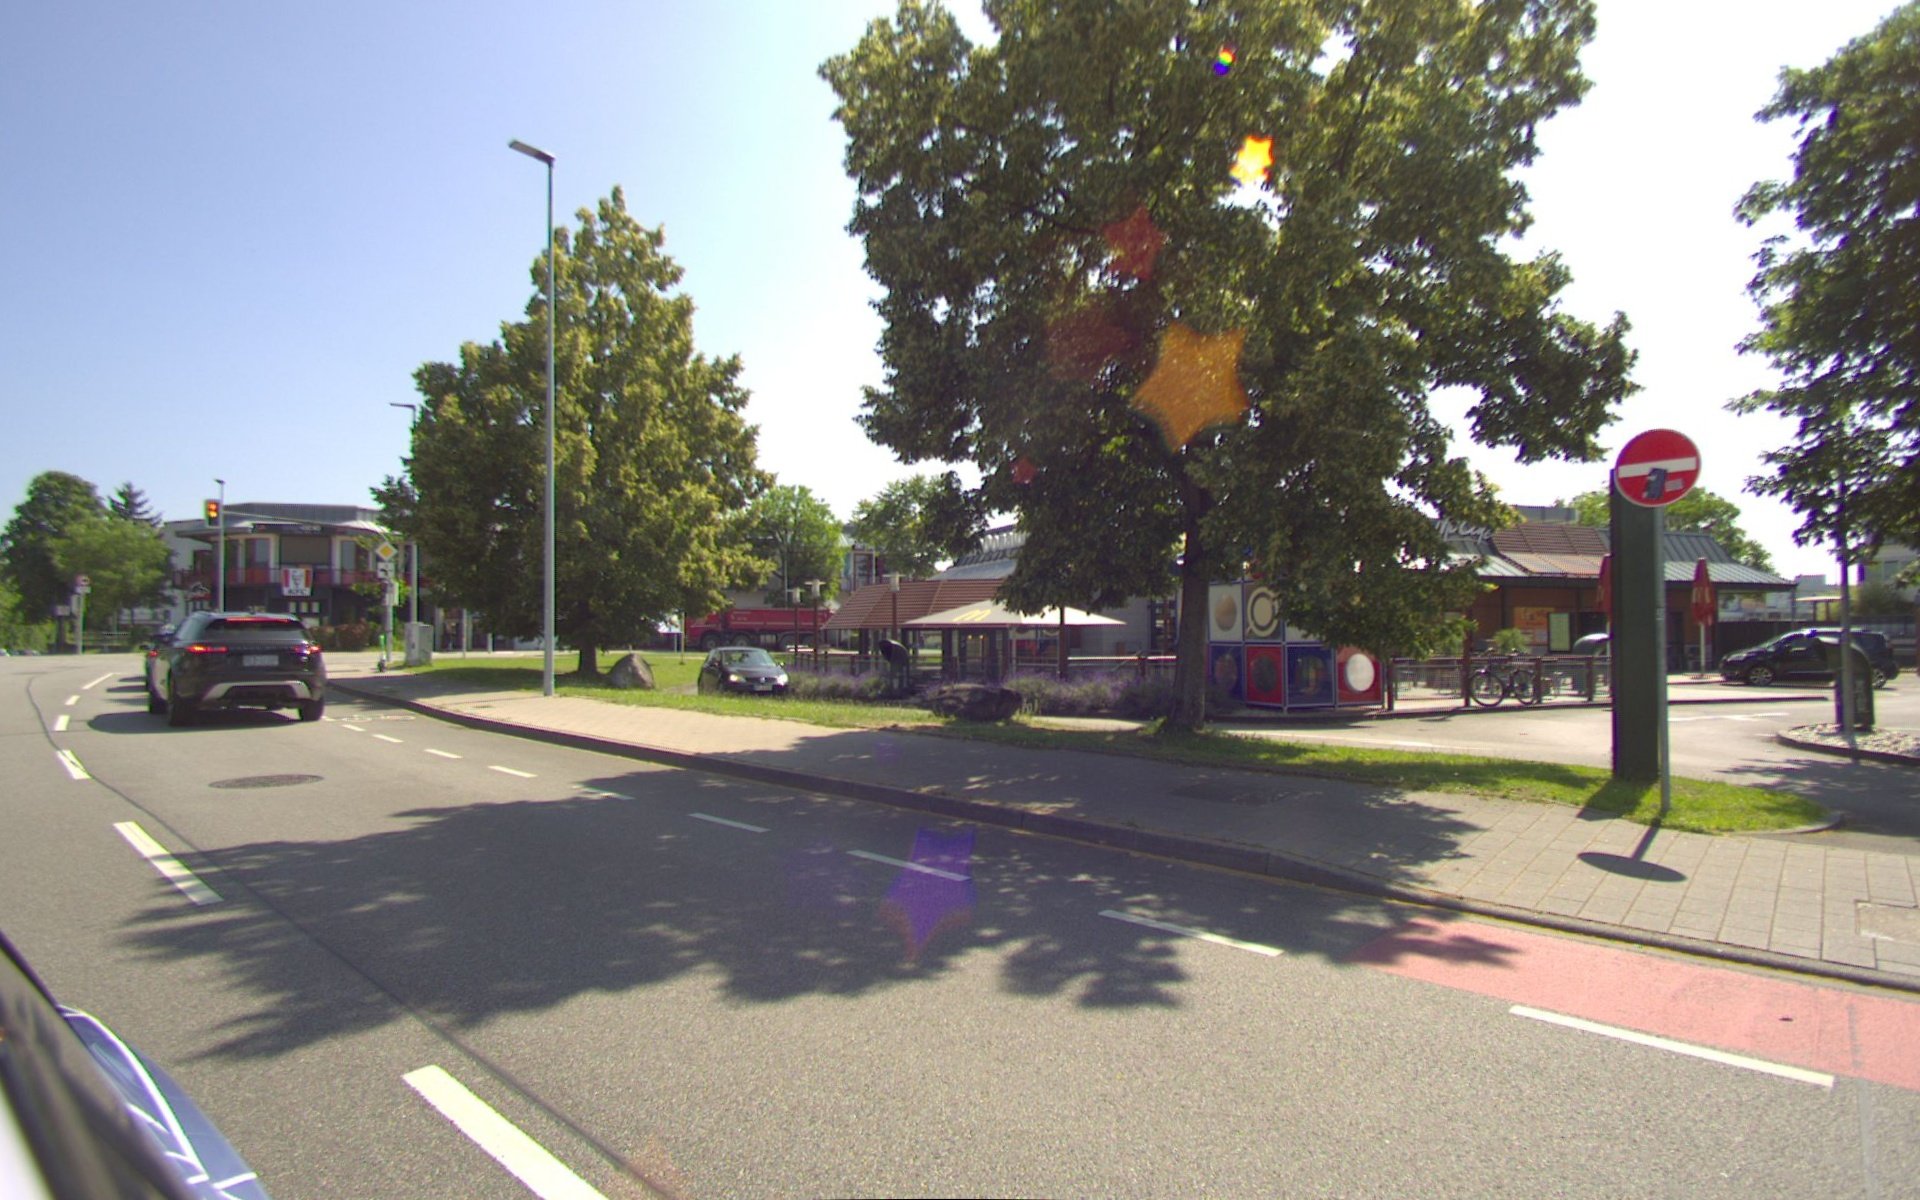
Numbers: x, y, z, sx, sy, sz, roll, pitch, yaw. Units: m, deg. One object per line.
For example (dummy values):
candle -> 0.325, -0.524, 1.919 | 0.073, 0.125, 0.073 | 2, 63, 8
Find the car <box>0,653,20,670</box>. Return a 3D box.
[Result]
car -> -100.748, 6.516, 106.944 | 1.647, 1.544, 4.008 | -3, 0, -38

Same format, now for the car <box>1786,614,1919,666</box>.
car -> 40.201, 1.768, 45.083 | 1.965, 2.194, 4.819 | 1, -3, -27

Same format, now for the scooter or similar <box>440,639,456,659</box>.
scooter or similar -> -30.398, 2.908, 60.073 | 0.492, 1.132, 1.508 | 1, -2, -13

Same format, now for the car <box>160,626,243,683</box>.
car -> -21.729, 1.534, 29.087 | 1.756, 1.508, 4.733 | 2, -3, -36

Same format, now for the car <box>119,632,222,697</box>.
car -> -18.543, 1.478, 23.917 | 1.633, 1.391, 4.010 | 2, -3, -34

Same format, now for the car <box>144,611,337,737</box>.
car -> -11.535, 1.094, 16.096 | 1.926, 1.708, 4.618 | 2, -3, -42

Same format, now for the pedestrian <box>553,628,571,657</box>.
pedestrian -> -23.388, 2.493, 59.431 | 0.723, 1.658, 0.842 | 0, -2, -2

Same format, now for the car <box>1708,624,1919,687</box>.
car -> 24.421, 1.576, 29.154 | 4.327, 1.697, 1.758 | -1, -3, 27

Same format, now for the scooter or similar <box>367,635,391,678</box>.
scooter or similar -> -16.635, 1.614, 28.977 | 0.465, 1.193, 1.369 | 2, -3, -34

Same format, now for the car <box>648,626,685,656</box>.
car -> -18.790, 2.620, 64.703 | 1.777, 1.870, 4.674 | 1, -3, -22

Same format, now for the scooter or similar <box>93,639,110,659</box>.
scooter or similar -> -49.112, 2.787, 57.901 | 0.420, 1.132, 1.456 | 1, -3, -27

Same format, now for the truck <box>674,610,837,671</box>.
truck -> -12.102, 2.347, 59.847 | 9.009, 3.412, 3.325 | 1, -3, -21

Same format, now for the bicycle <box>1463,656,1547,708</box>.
bicycle -> 10.943, 1.634, 20.301 | 1.826, 1.000, 0.309 | 1, -3, -20

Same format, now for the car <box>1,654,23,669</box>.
car -> -104.755, 6.780, 111.848 | 1.647, 1.544, 4.005 | 2, -3, -42

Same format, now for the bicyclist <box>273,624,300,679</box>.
bicyclist -> -22.492, 1.722, 33.821 | 0.700, 1.802, 0.811 | 2, -3, -33

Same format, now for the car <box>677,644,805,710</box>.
car -> -5.737, 1.913, 26.156 | 1.834, 1.564, 4.199 | 2, -3, -34
